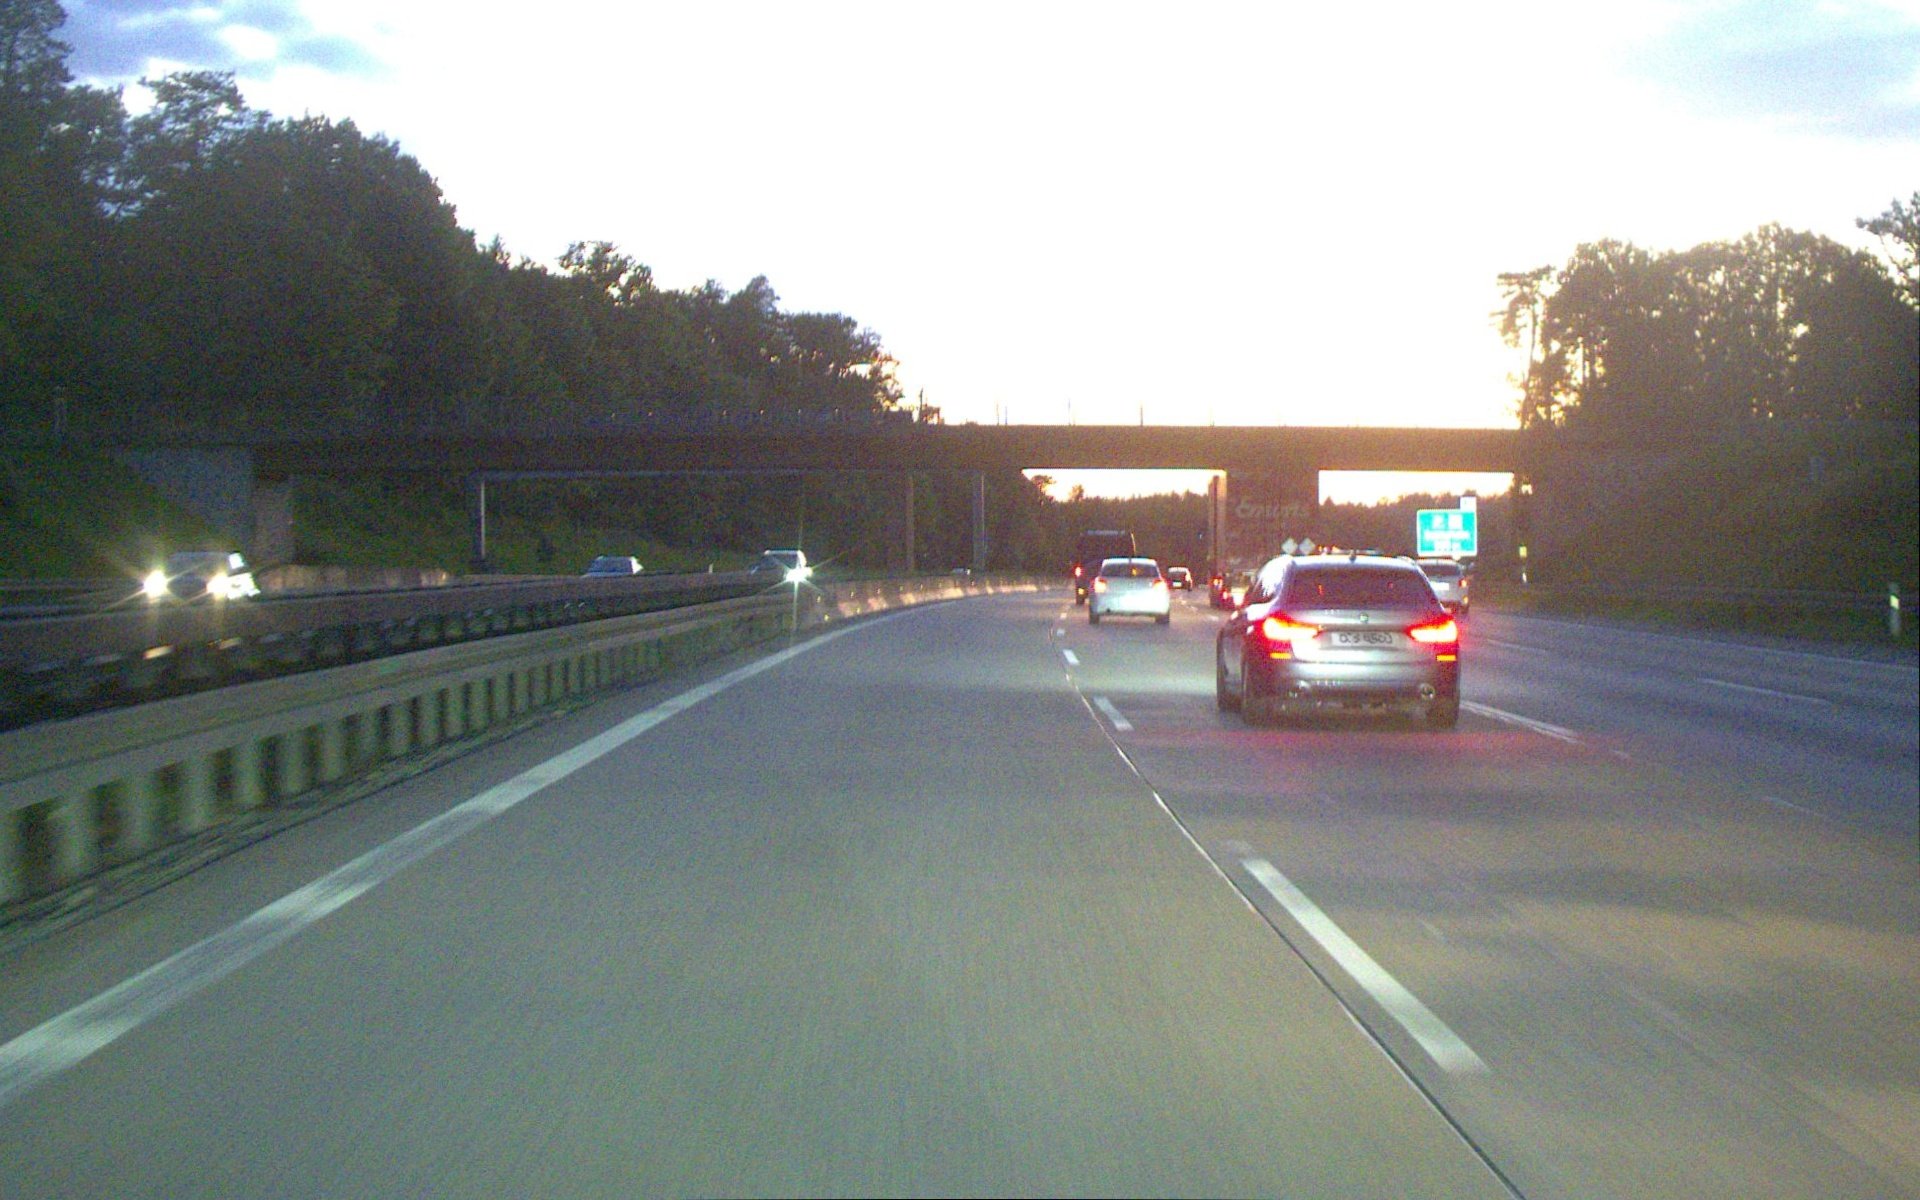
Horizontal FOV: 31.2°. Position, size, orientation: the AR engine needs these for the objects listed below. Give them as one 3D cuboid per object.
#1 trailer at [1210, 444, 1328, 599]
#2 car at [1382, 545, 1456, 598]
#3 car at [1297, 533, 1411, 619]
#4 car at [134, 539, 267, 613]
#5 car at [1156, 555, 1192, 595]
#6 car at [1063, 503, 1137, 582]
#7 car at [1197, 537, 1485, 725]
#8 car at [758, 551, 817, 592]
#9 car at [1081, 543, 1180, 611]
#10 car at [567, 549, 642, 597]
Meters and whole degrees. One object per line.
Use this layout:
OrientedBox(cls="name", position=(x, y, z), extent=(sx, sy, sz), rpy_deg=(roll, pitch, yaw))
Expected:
OrientedBox(cls="trailer", position=(8.809, -2.155, 99.085), extent=(2.907, 4.087, 10.356), rpy_deg=(1, -1, 3))
OrientedBox(cls="car", position=(12.982, -0.788, 97.413), extent=(1.859, 1.437, 4.111), rpy_deg=(0, 0, 5))
OrientedBox(cls="car", position=(7.721, -0.466, 67.779), extent=(1.903, 1.638, 5.051), rpy_deg=(0, 0, 3))
OrientedBox(cls="car", position=(-15.521, -0.502, 70.379), extent=(1.843, 1.450, 3.602), rpy_deg=(1, 1, 1))
OrientedBox(cls="car", position=(13.443, -1.541, 216.538), extent=(2.166, 2.411, 5.563), rpy_deg=(0, -1, 3))
OrientedBox(cls="car", position=(4.571, -1.827, 111.444), extent=(2.166, 2.411, 5.563), rpy_deg=(0, -1, 5))
OrientedBox(cls="car", position=(3.349, 0.212, 31.239), extent=(1.909, 1.532, 5.232), rpy_deg=(0, 1, -1))
OrientedBox(cls="car", position=(-6.298, -1.054, 125.985), extent=(1.875, 1.438, 4.451), rpy_deg=(0, 1, 1))
OrientedBox(cls="car", position=(3.761, -0.528, 76.518), extent=(1.859, 1.437, 3.721), rpy_deg=(0, 1, -2))
OrientedBox(cls="car", position=(-11.321, -0.877, 109.748), extent=(1.875, 1.438, 4.451), rpy_deg=(0, 1, 1))
